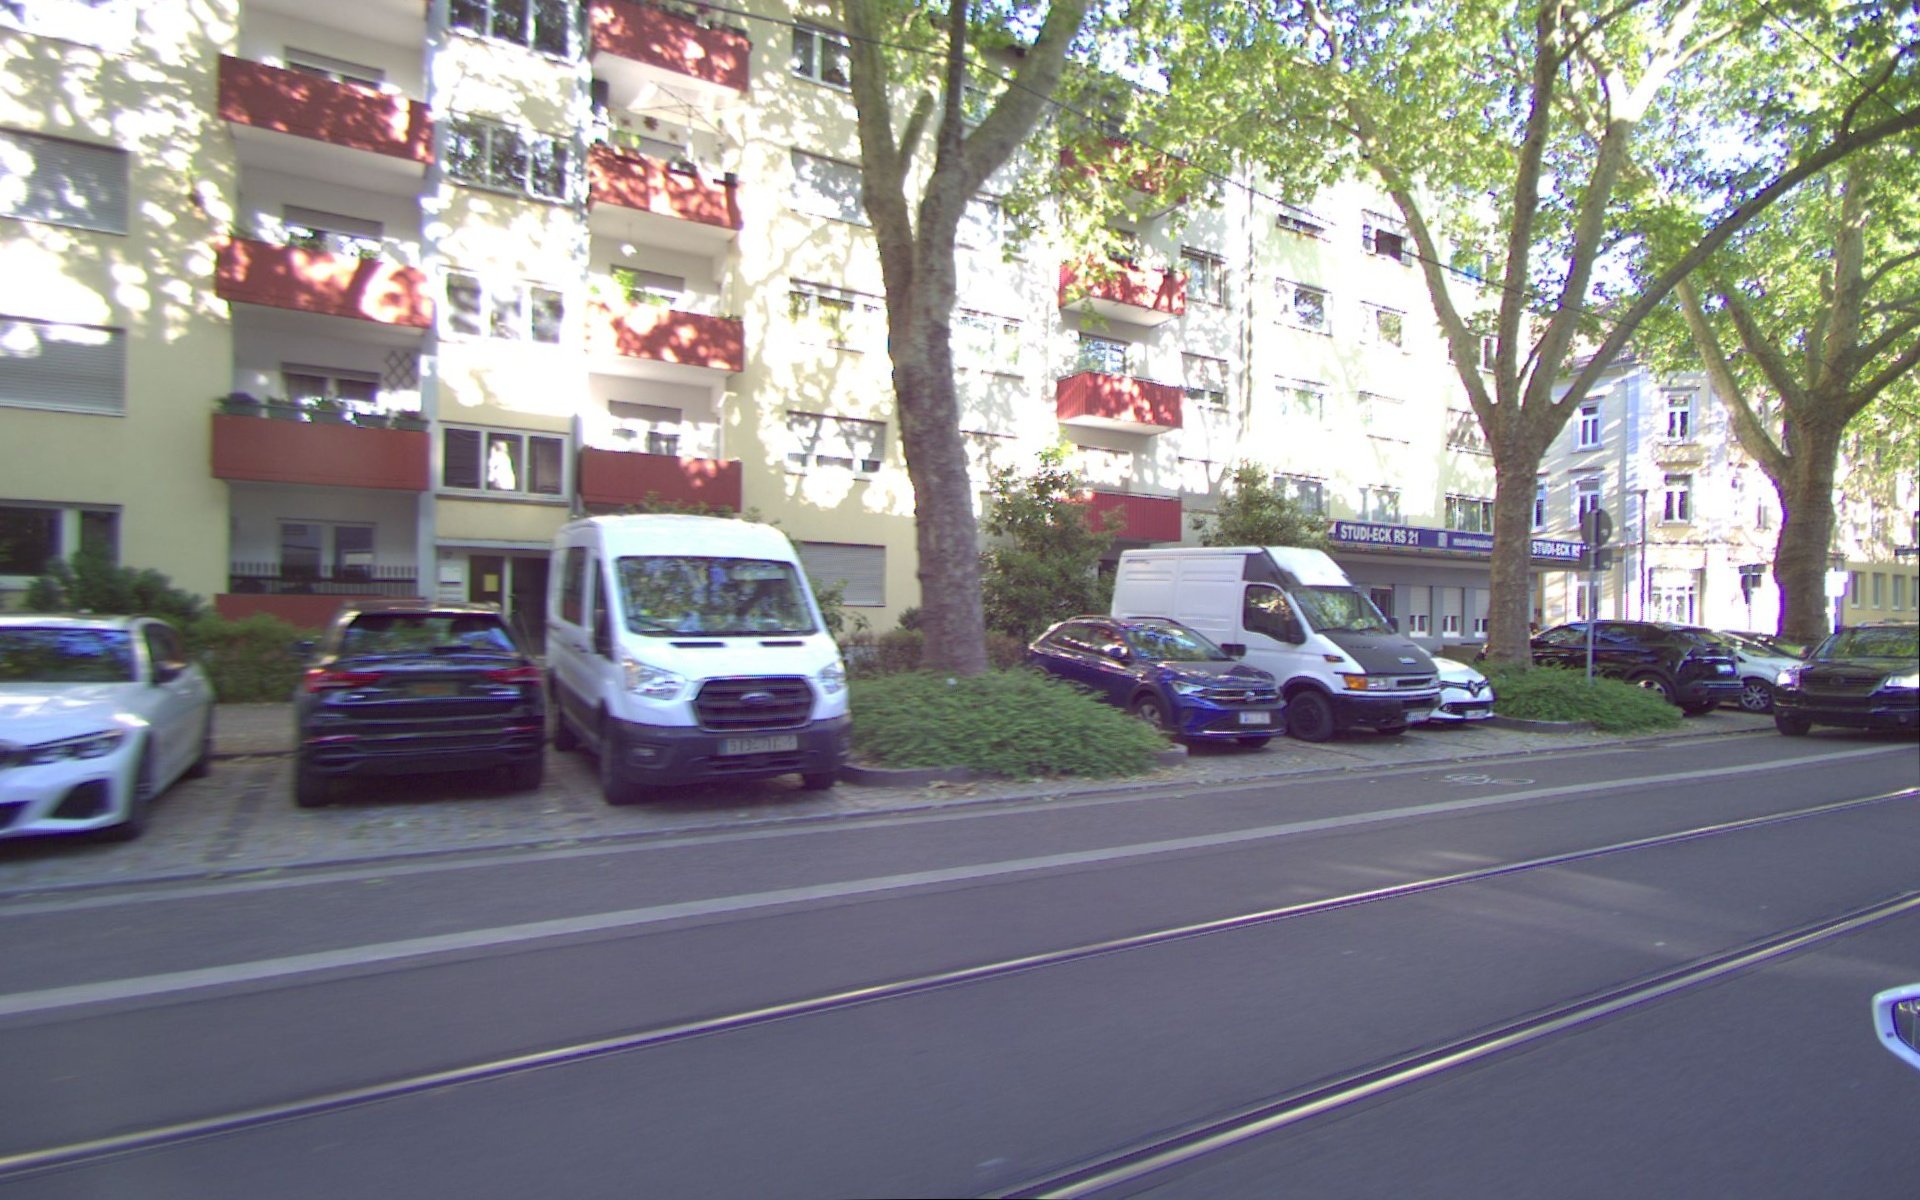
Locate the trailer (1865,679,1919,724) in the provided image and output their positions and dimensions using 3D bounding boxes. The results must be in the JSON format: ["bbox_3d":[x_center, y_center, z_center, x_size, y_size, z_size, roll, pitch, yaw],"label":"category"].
[{"bbox_3d":[18.753,1.778,17.868,6.325,0.640,2.150,1,-1,-30],"label":"trailer"}]

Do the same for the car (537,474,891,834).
[{"bbox_3d":[-2.739,0.407,9.861,2.032,2.510,5.337,1,-1,-29],"label":"car"}]

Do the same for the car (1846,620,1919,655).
[{"bbox_3d":[43.600,1.751,47.274,3.952,1.537,1.674,1,0,-30],"label":"car"}]

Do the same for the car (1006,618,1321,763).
[{"bbox_3d":[2.429,1.023,12.981,1.849,1.485,4.002,1,0,-29],"label":"car"}]

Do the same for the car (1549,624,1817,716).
[{"bbox_3d":[14.139,1.290,19.873,1.751,1.542,3.967,1,-1,-31],"label":"car"}]

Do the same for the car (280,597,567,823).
[{"bbox_3d":[-4.961,0.775,9.315,1.850,1.559,4.350,1,0,-29],"label":"car"}]

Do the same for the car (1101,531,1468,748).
[{"bbox_3d":[4.458,0.498,14.645,2.060,2.601,4.915,1,-1,-32],"label":"car"}]

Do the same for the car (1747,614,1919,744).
[{"bbox_3d":[14.102,1.113,15.185,4.432,1.722,1.984,1,-2,-30],"label":"car"}]

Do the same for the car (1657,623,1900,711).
[{"bbox_3d":[16.256,1.259,20.094,1.768,1.551,3.411,1,-1,-32],"label":"car"}]

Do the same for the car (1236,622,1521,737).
[{"bbox_3d":[6.425,1.137,15.830,1.839,1.498,3.835,1,-1,-30],"label":"car"}]

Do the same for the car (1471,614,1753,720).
[{"bbox_3d":[11.861,1.132,18.534,1.872,1.669,3.967,1,-1,-31],"label":"car"}]

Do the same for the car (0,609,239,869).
[{"bbox_3d":[-6.763,0.796,7.350,1.910,1.403,4.389,1,0,-29],"label":"car"}]
